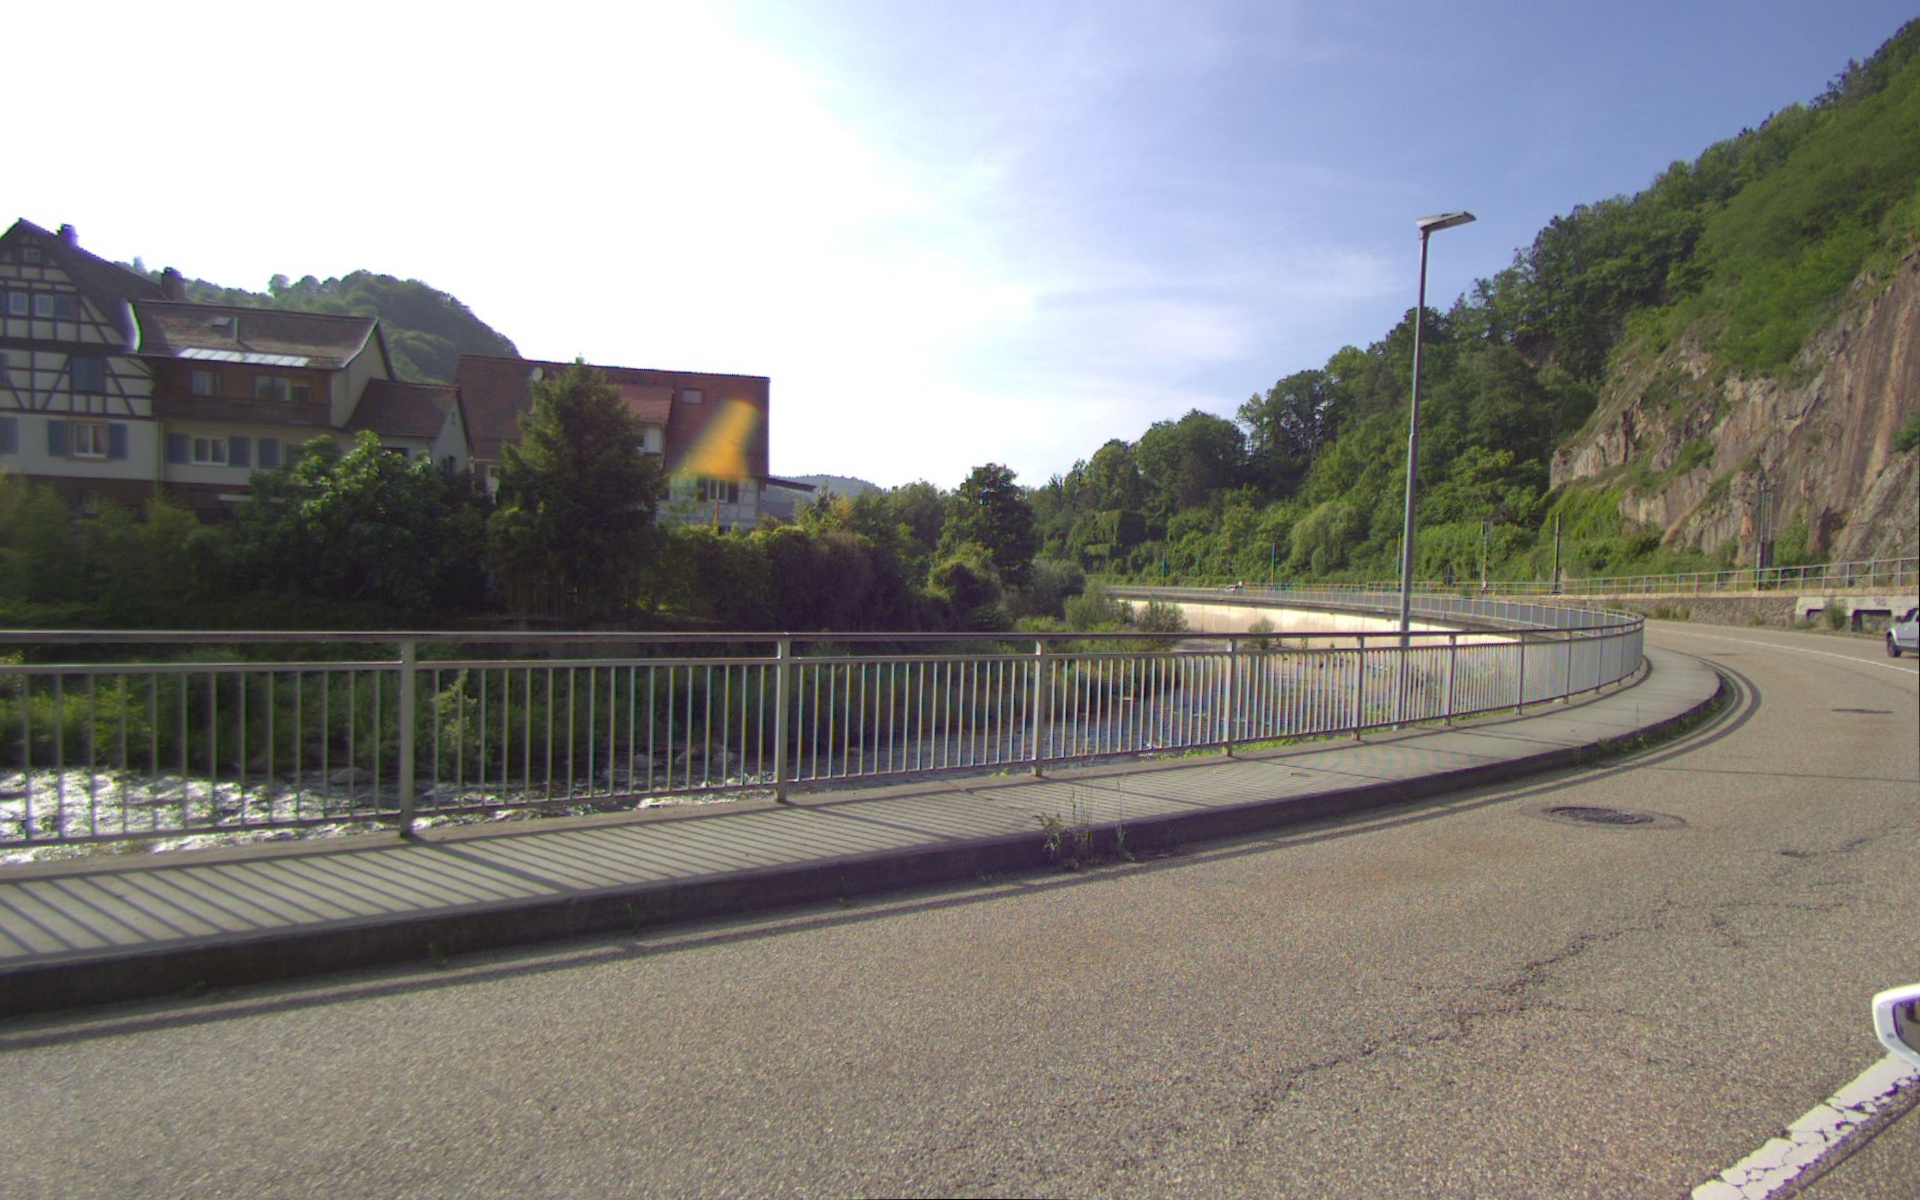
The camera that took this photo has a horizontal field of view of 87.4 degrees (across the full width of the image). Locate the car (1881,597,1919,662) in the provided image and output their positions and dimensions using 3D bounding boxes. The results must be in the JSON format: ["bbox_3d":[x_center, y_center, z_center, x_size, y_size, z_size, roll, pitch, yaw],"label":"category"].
[{"bbox_3d":[27.848,0.806,28.384,1.845,1.678,3.992,-1,1,30],"label":"car"}]
